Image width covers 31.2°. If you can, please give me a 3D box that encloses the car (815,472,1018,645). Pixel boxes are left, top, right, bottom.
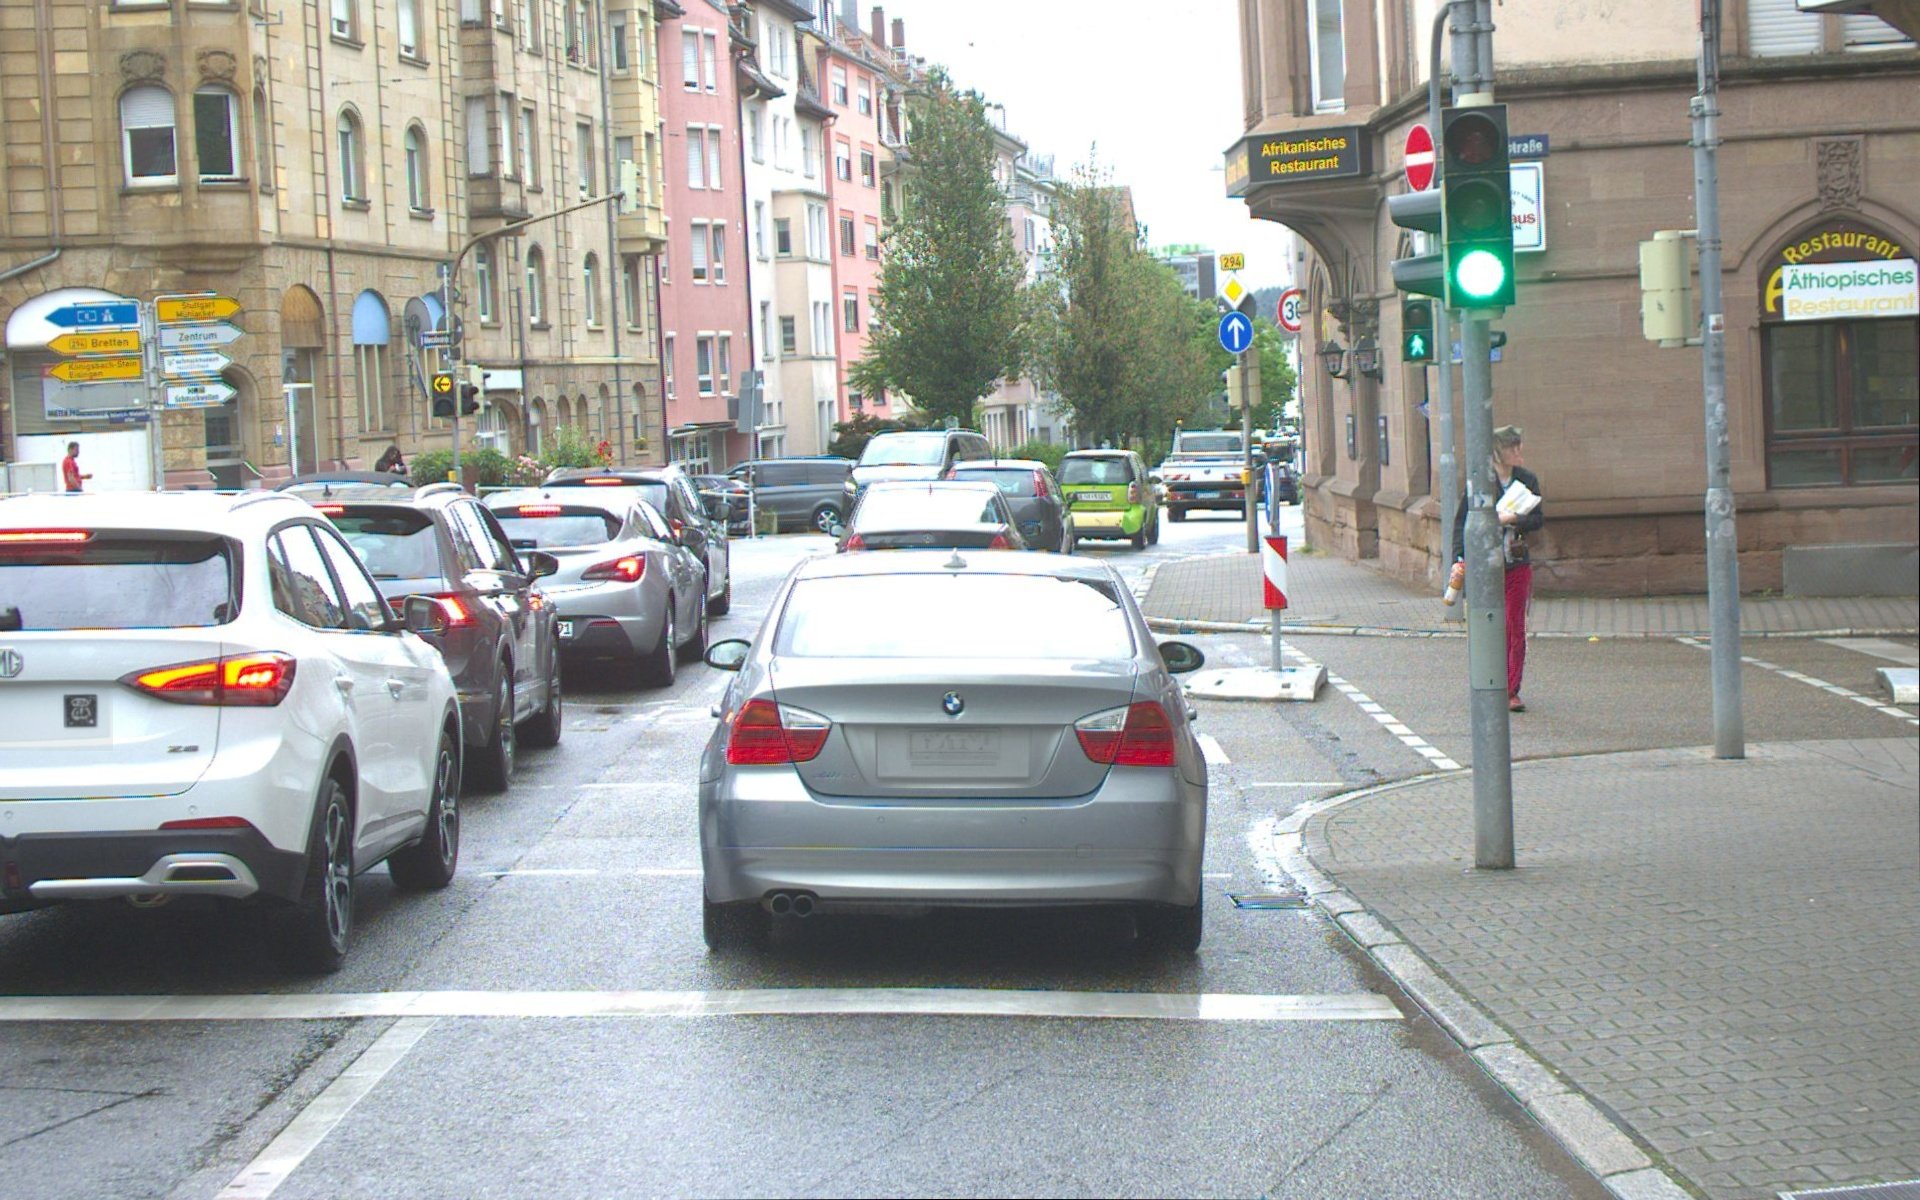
[{"bbox_3d":[-0.331,-0.397,30.655,1.682,1.423,3.741,-1,2,1],"label":"car"}]

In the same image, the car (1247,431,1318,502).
[{"bbox_3d":[9.212,-3.788,98.025,1.813,1.897,3.999,1,1,8],"label":"car"}]

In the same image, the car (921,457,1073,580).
[{"bbox_3d":[0.513,-1.042,43.881,1.697,1.478,3.793,-1,1,4],"label":"car"}]

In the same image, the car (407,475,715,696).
[{"bbox_3d":[-2.968,-0.175,26.380,1.752,1.478,4.181,-1,3,1],"label":"car"}]

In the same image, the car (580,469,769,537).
[{"bbox_3d":[-6.819,-2.328,82.330,4.148,1.505,1.873,-1,2,8],"label":"car"}]

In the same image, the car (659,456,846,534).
[{"bbox_3d":[-5.241,-2.689,87.408,4.674,1.932,1.864,0,2,-1],"label":"car"}]

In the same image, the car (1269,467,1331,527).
[{"bbox_3d":[10.608,-3.187,107.160,1.779,1.791,3.999,1,1,8],"label":"car"}]

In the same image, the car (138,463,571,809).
[{"bbox_3d":[-3.318,0.101,19.604,1.752,1.638,4.213,-1,4,-1],"label":"car"}]

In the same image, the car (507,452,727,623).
[{"bbox_3d":[-3.251,-0.618,33.298,1.752,1.529,4.215,-1,1,-1],"label":"car"}]

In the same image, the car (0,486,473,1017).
[{"bbox_3d":[-2.989,0.424,12.876,1.752,1.639,4.379,-1,1,-1],"label":"car"}]

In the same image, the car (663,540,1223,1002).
[{"bbox_3d":[-0.081,0.514,12.844,1.769,1.423,3.741,-1,1,-1],"label":"car"}]

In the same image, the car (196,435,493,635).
[{"bbox_3d":[-5.963,-0.686,33.748,1.714,1.491,3.683,-11,3,6],"label":"car"}]

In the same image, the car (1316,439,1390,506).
[{"bbox_3d":[10.572,-3.405,92.283,1.879,1.725,4.676,0,2,8],"label":"car"}]

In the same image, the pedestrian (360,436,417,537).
[{"bbox_3d":[-9.705,-1.927,58.410,0.826,1.696,0.639,-1,2,-21],"label":"pedestrian"}]

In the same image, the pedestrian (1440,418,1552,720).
[{"bbox_3d":[3.555,-0.224,22.861,0.698,1.942,1.090,0,3,7],"label":"pedestrian"}]

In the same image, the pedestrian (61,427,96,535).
[{"bbox_3d":[-14.560,-1.965,56.780,0.522,1.768,0.694,-1,2,-16],"label":"pedestrian"}]

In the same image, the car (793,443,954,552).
[{"bbox_3d":[-1.605,-1.834,62.321,1.742,1.840,4.148,-3,2,-18],"label":"car"}]

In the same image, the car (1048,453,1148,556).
[{"bbox_3d":[2.199,-1.505,54.217,1.449,1.560,3.333,-1,1,4],"label":"car"}]

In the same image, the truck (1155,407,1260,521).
[{"bbox_3d":[5.506,-2.974,76.002,2.032,2.404,4.826,-1,1,7],"label":"truck"}]
